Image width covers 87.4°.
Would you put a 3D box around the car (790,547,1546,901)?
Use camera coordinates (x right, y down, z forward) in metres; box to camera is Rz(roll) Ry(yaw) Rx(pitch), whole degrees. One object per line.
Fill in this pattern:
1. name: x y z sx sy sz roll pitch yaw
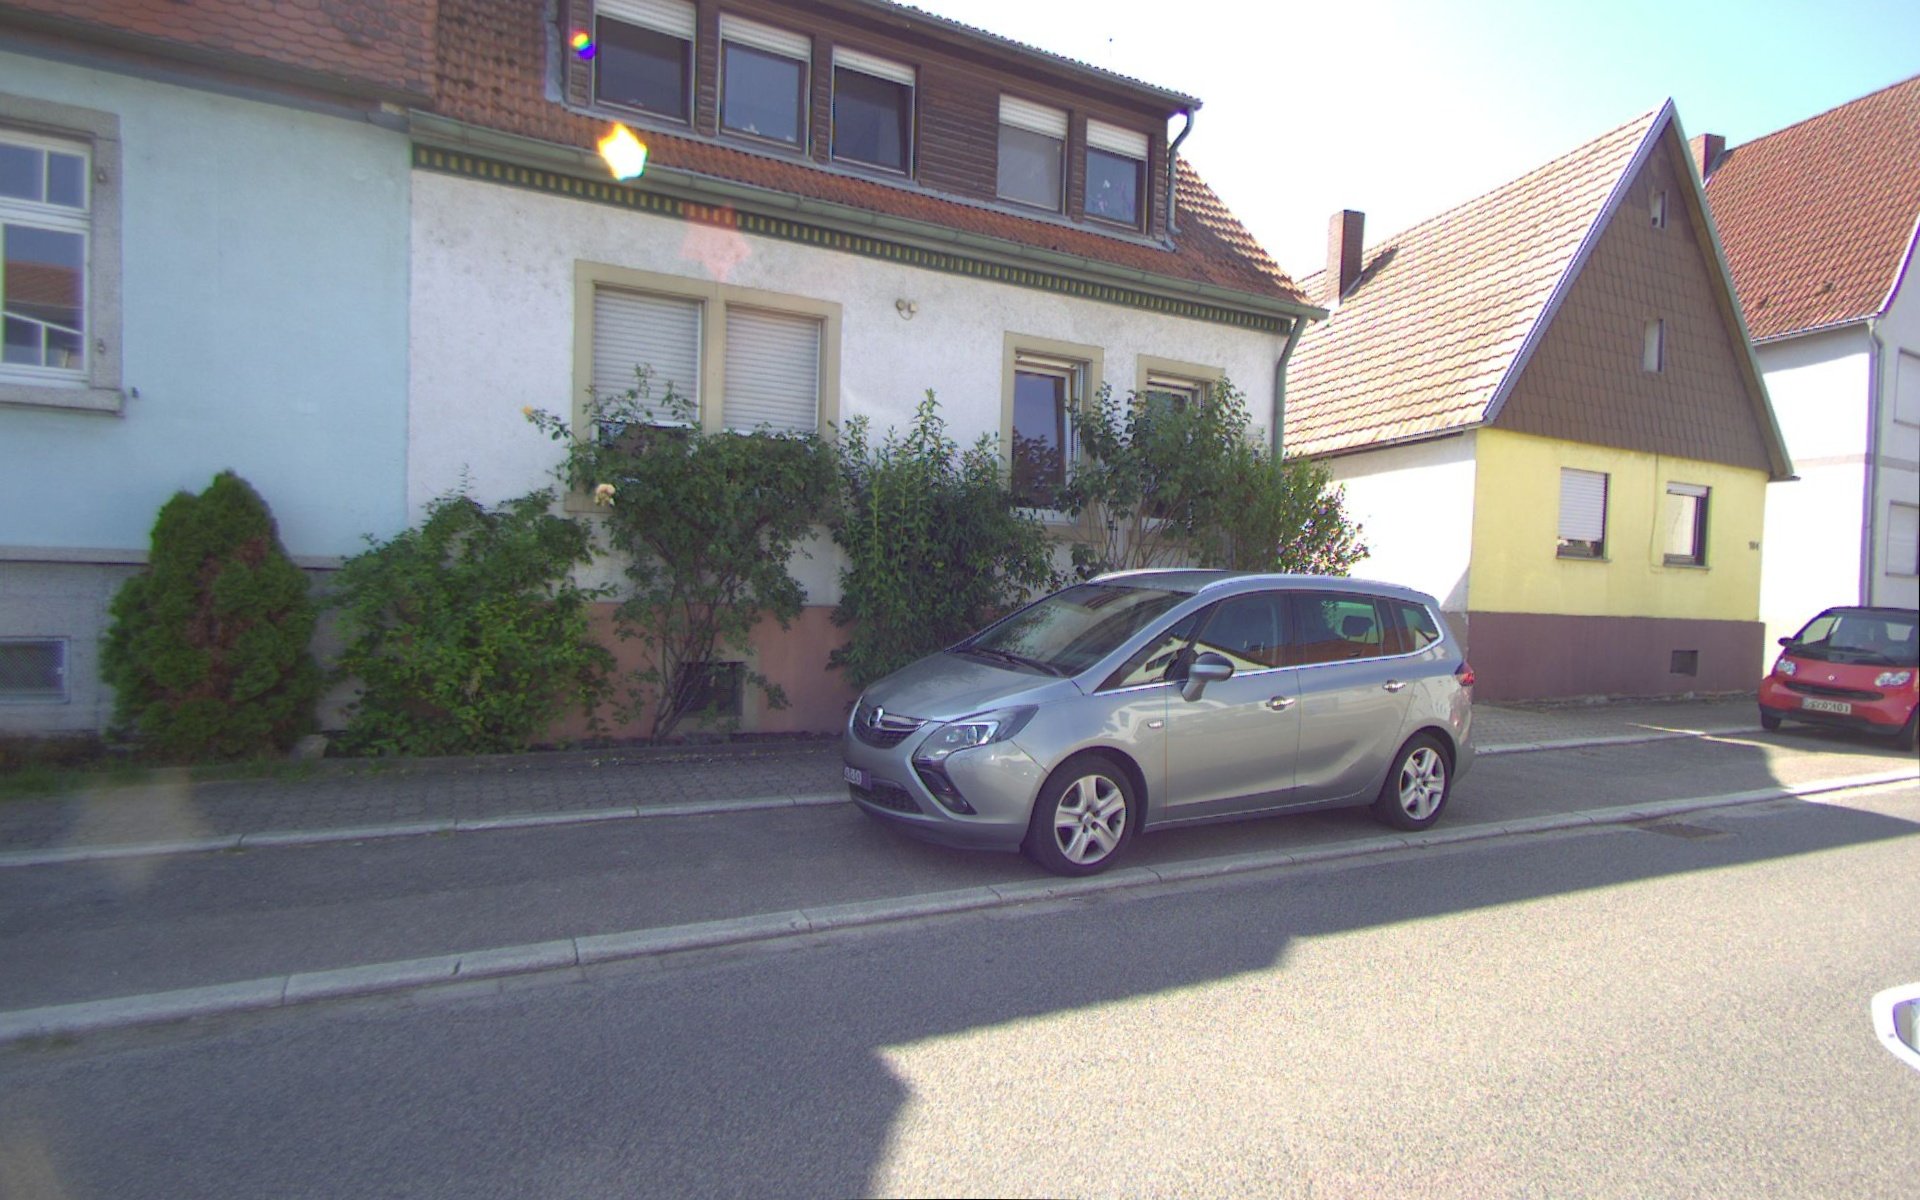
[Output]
1. car: 1.405 0.604 6.541 4.602 1.659 1.866 2 2 -26

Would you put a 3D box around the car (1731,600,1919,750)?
1. car: 11.120 0.850 12.256 2.949 1.565 1.546 2 2 -27
